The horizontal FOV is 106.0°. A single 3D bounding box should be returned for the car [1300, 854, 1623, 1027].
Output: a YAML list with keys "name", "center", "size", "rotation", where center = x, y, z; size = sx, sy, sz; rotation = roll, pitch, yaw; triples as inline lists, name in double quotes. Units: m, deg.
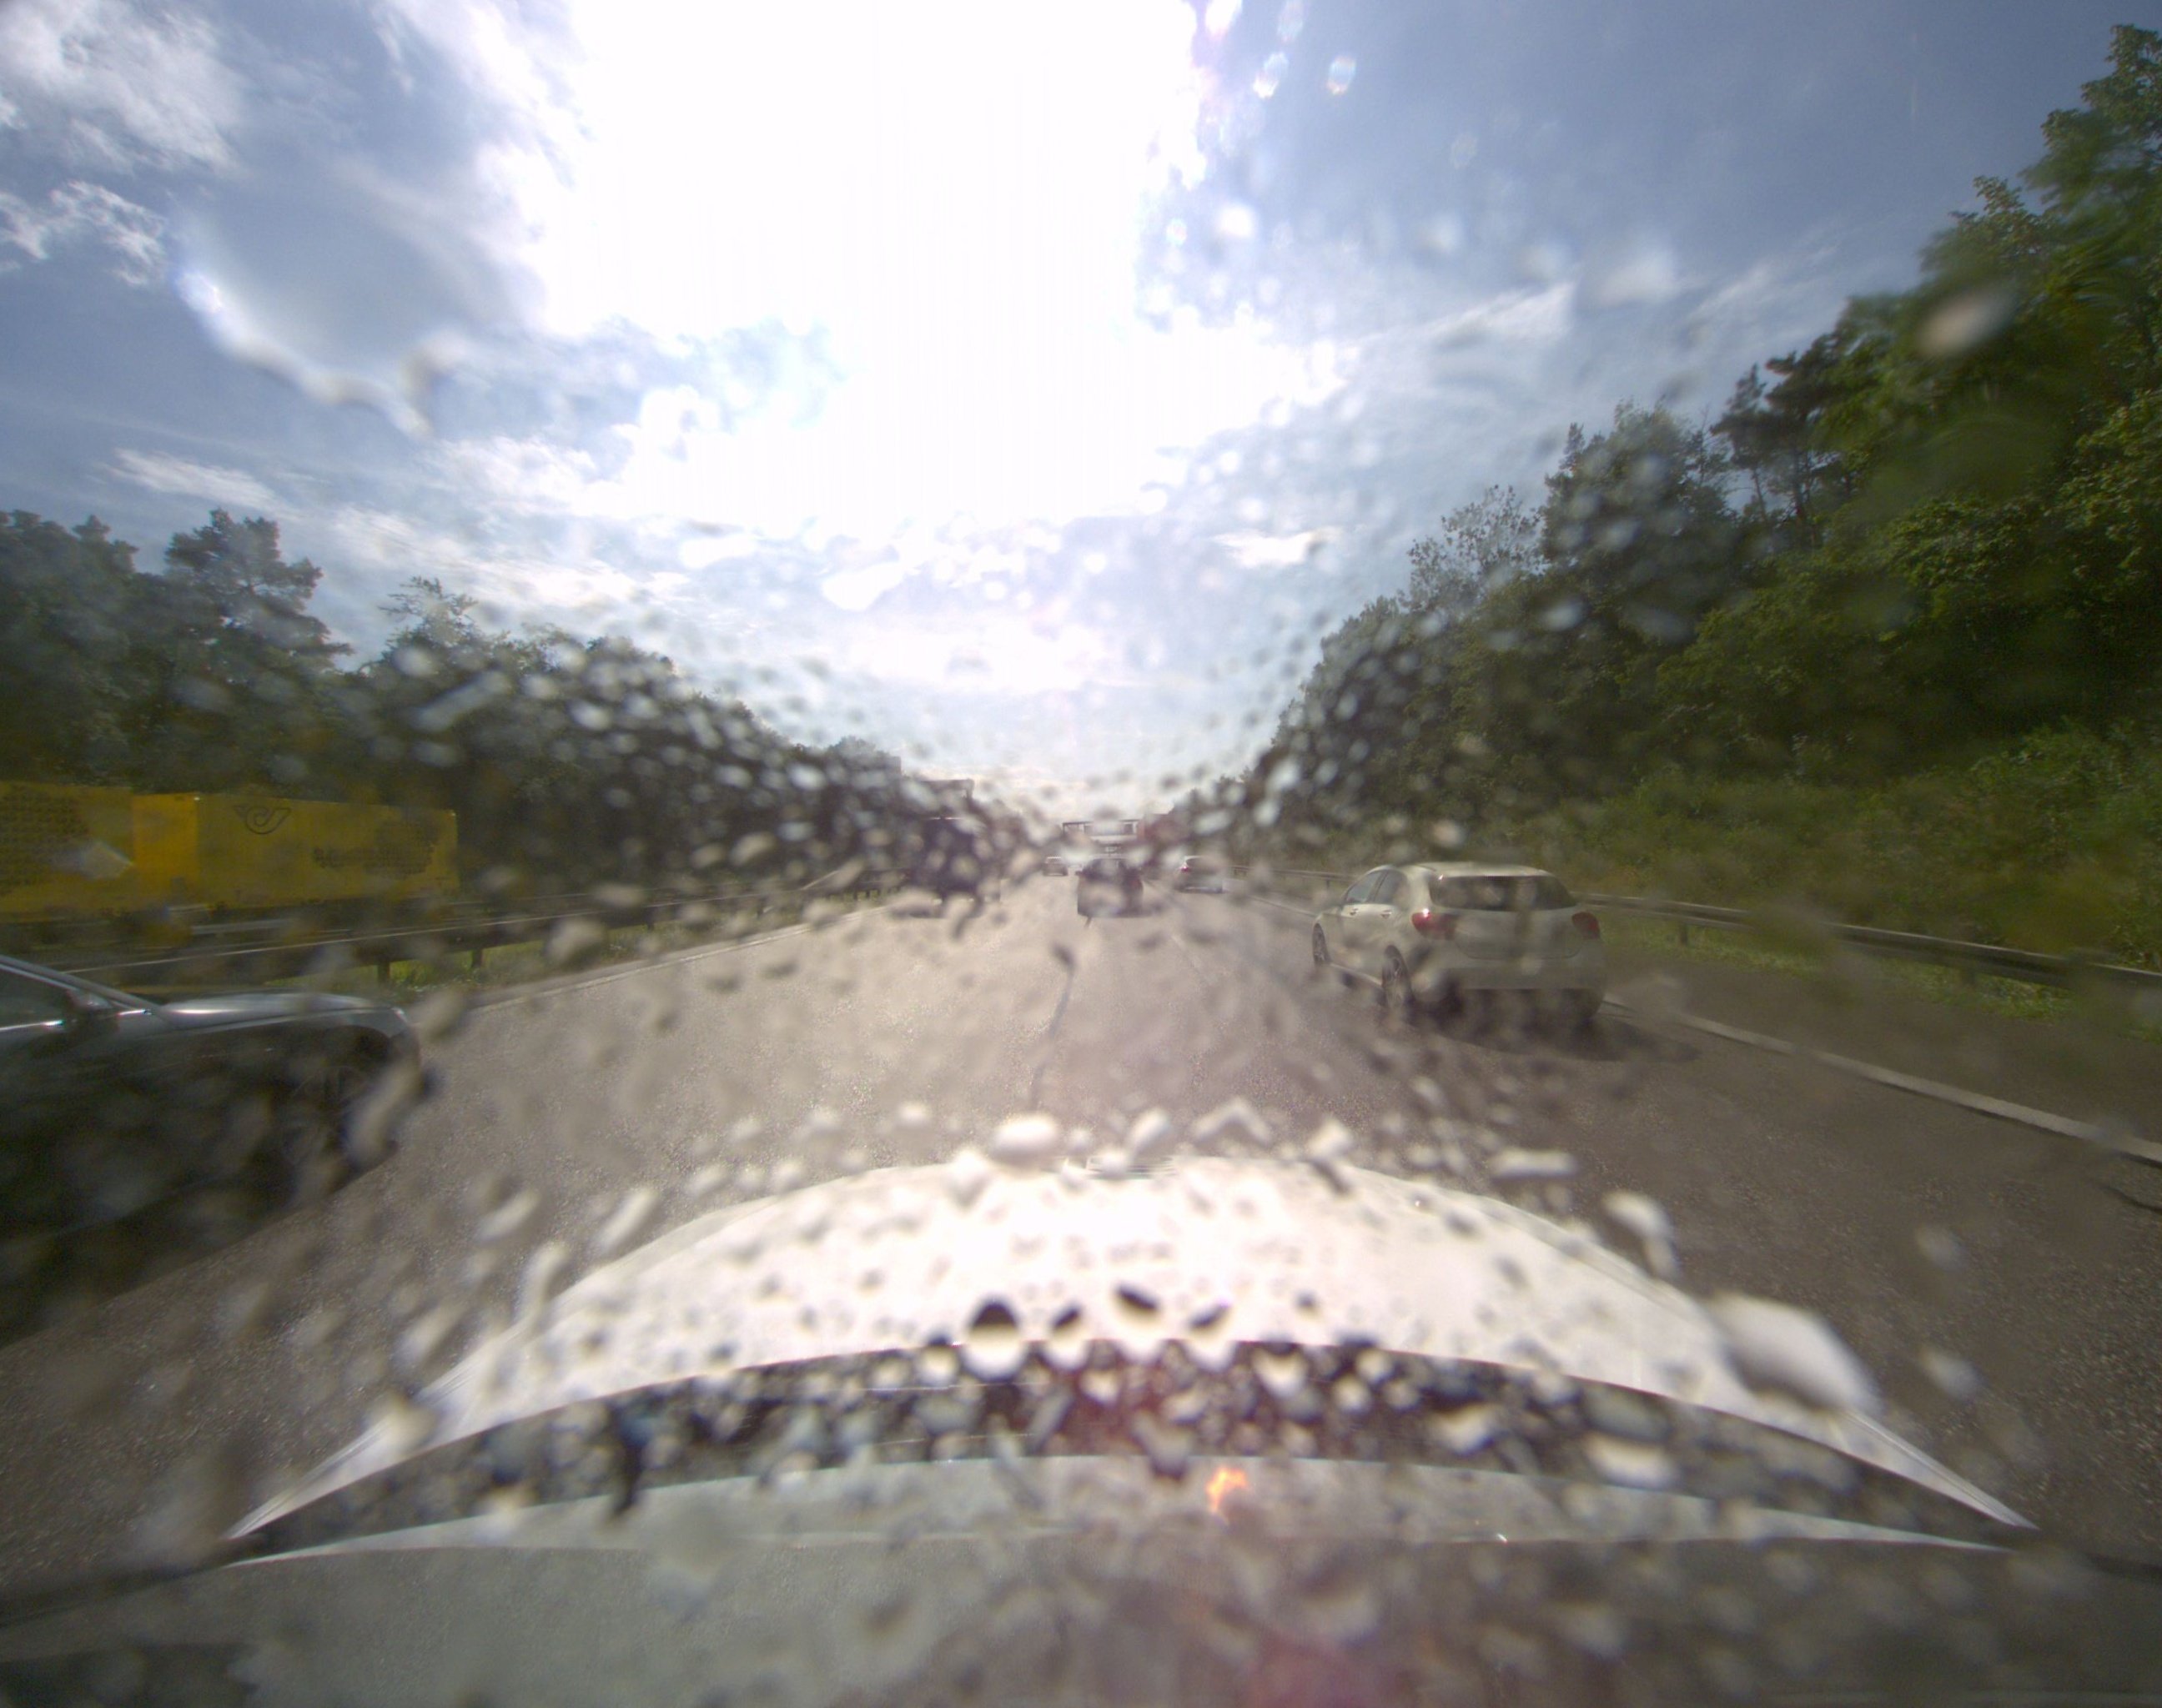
- name: "car"
  center: [3.721, 0.732, 8.873]
  size: [1.685, 1.425, 4.222]
  rotation: [0, 0, 2]

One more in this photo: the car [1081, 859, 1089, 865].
- name: "car"
  center: [0.781, 1.587, 161.682]
  size: [1.544, 1.267, 3.484]
  rotation: [0, 0, 0]

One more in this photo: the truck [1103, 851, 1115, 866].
- name: "truck"
  center: [5.620, 0.873, 162.730]
  size: [2.184, 2.875, 4.849]
  rotation: [0, 0, 0]

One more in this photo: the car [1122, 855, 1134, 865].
- name: "car"
  center: [6.536, 0.878, 113.293]
  size: [1.547, 1.383, 3.210]
  rotation: [0, 0, 0]

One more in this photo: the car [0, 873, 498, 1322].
- name: "car"
  center: [-4.419, 0.817, 2.423]
  size: [1.788, 1.419, 4.840]
  rotation: [0, 0, 1]

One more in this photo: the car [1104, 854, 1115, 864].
- name: "car"
  center: [3.992, 0.648, 115.000]
  size: [1.547, 1.383, 3.210]
  rotation: [0, 0, 0]

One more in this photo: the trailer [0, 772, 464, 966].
- name: "trailer"
  center: [-21.590, 0.303, 18.141]
  size: [2.713, 3.644, 16.679]
  rotation: [0, 0, 1]

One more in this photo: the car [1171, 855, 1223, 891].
- name: "car"
  center: [4.837, 0.762, 34.324]
  size: [1.675, 1.442, 3.905]
  rotation: [0, 0, 0]

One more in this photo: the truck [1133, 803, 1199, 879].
- name: "truck"
  center: [5.875, -0.754, 59.490]
  size: [3.635, 4.720, 16.787]
  rotation: [0, 0, 2]

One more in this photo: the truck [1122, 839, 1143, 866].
- name: "truck"
  center: [8.858, -0.186, 141.032]
  size: [3.243, 4.479, 12.427]
  rotation: [0, 0, 2]

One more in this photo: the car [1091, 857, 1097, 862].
- name: "car"
  center: [3.286, 1.374, 205.233]
  size: [1.544, 1.267, 3.484]
  rotation: [0, 0, 0]

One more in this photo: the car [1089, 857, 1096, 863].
- name: "car"
  center: [2.636, 1.412, 192.305]
  size: [1.544, 1.267, 3.484]
  rotation: [0, 0, 0]

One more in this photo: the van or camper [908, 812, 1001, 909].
- name: "van or camper"
  center: [-3.786, 0.199, 25.366]
  size: [1.987, 2.669, 5.384]
  rotation: [0, 0, 0]

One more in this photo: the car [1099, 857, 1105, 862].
- name: "car"
  center: [6.085, 1.637, 235.038]
  size: [1.544, 1.267, 3.484]
  rotation: [0, 0, 0]

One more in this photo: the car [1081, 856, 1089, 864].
- name: "car"
  center: [0.681, 1.026, 135.912]
  size: [1.455, 1.393, 3.311]
  rotation: [0, 0, 0]

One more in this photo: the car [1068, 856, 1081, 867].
- name: "car"
  center: [-0.875, 0.970, 109.799]
  size: [1.745, 1.457, 3.389]
  rotation: [0, 0, 0]

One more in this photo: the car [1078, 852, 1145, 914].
- name: "car"
  center: [0.801, 0.755, 22.549]
  size: [1.712, 1.568, 3.484]
  rotation: [0, 0, 0]

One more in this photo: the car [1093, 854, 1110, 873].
- name: "car"
  center: [1.906, 0.868, 76.430]
  size: [1.526, 1.746, 3.484]
  rotation: [0, 0, 0]

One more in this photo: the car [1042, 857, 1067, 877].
- name: "car"
  center: [-2.064, 0.998, 64.721]
  size: [1.848, 1.551, 3.484]
  rotation: [0, 0, 0]
